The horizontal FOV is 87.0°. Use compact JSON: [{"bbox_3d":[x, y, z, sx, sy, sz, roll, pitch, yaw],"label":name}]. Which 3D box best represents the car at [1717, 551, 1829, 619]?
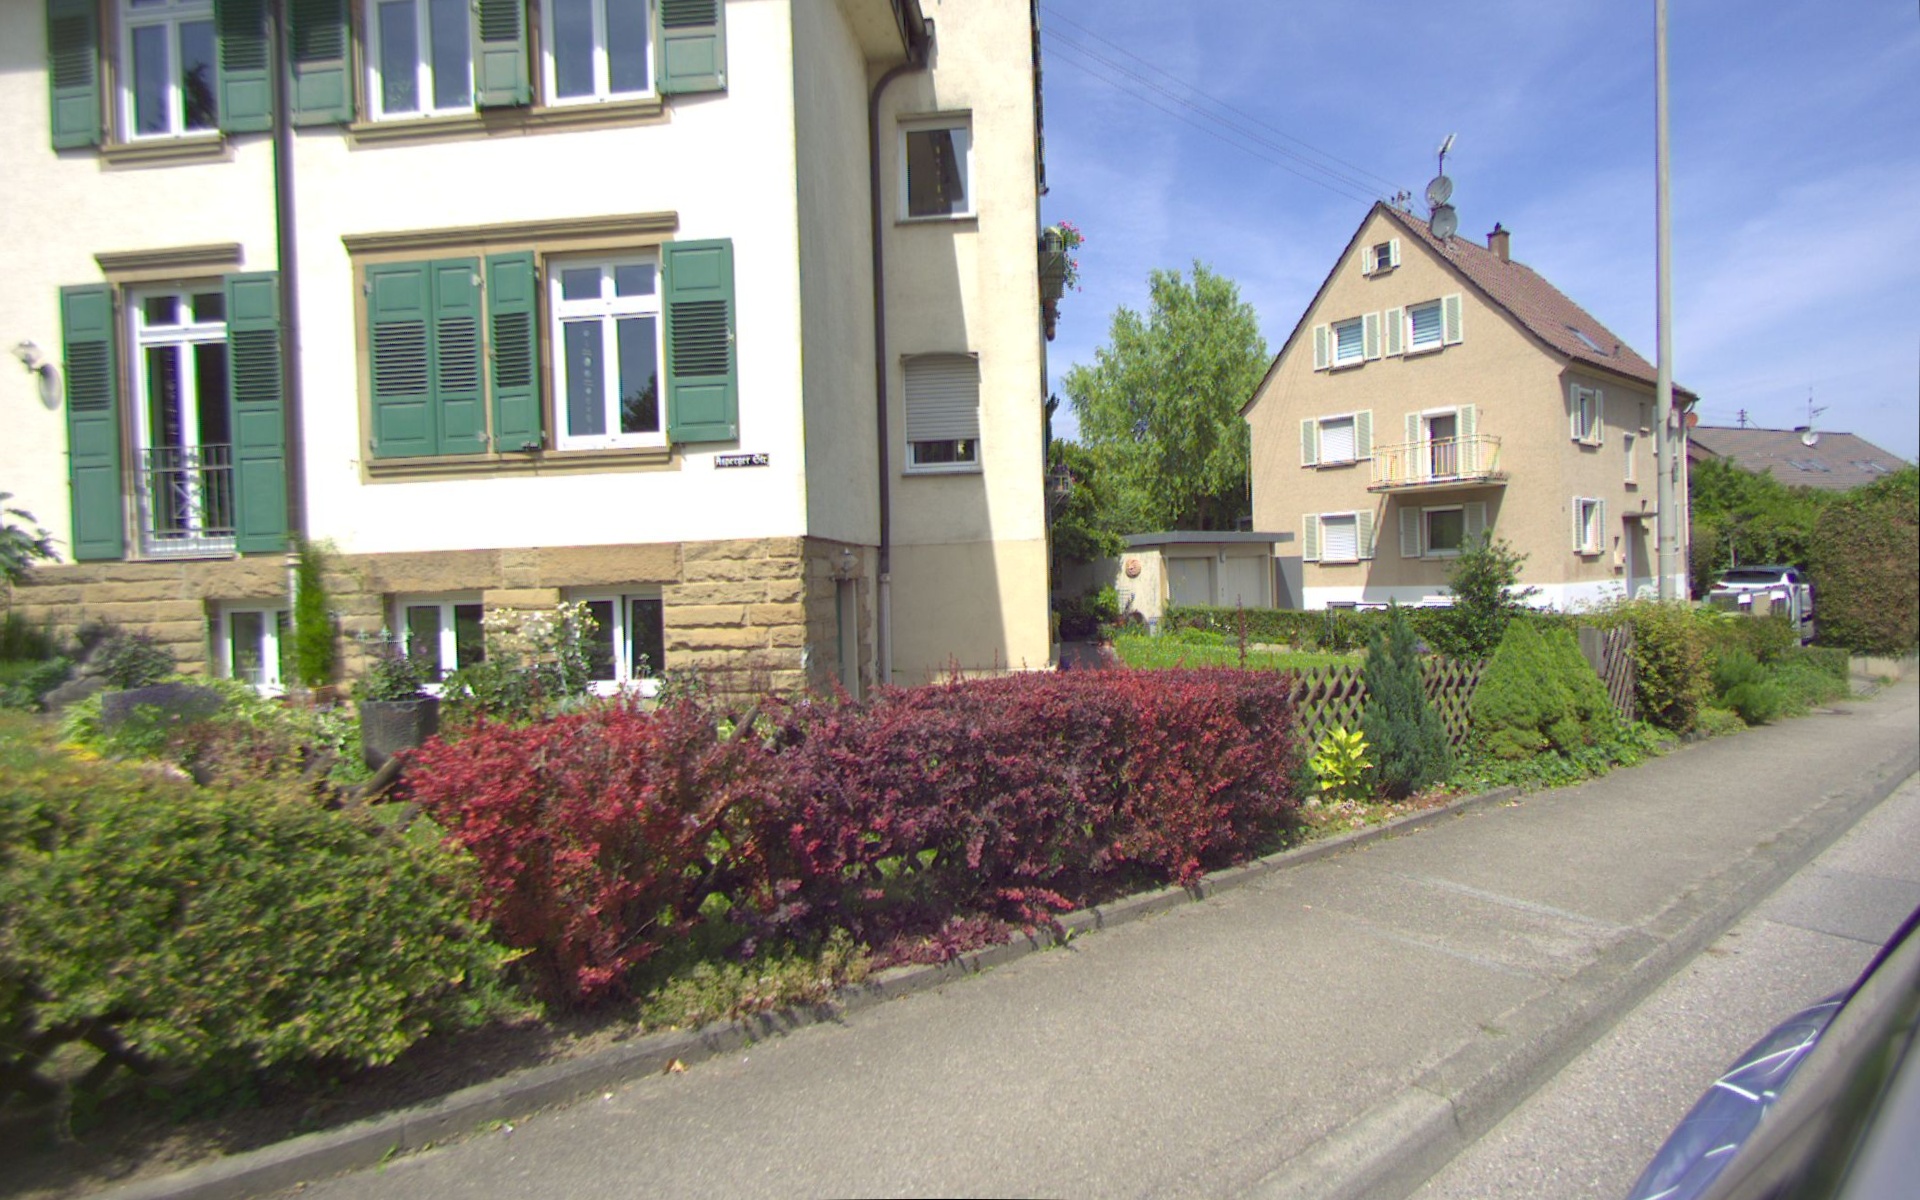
[{"bbox_3d":[20.766,-0.407,25.808,3.499,1.500,1.608,-5,3,-41],"label":"car"}]
